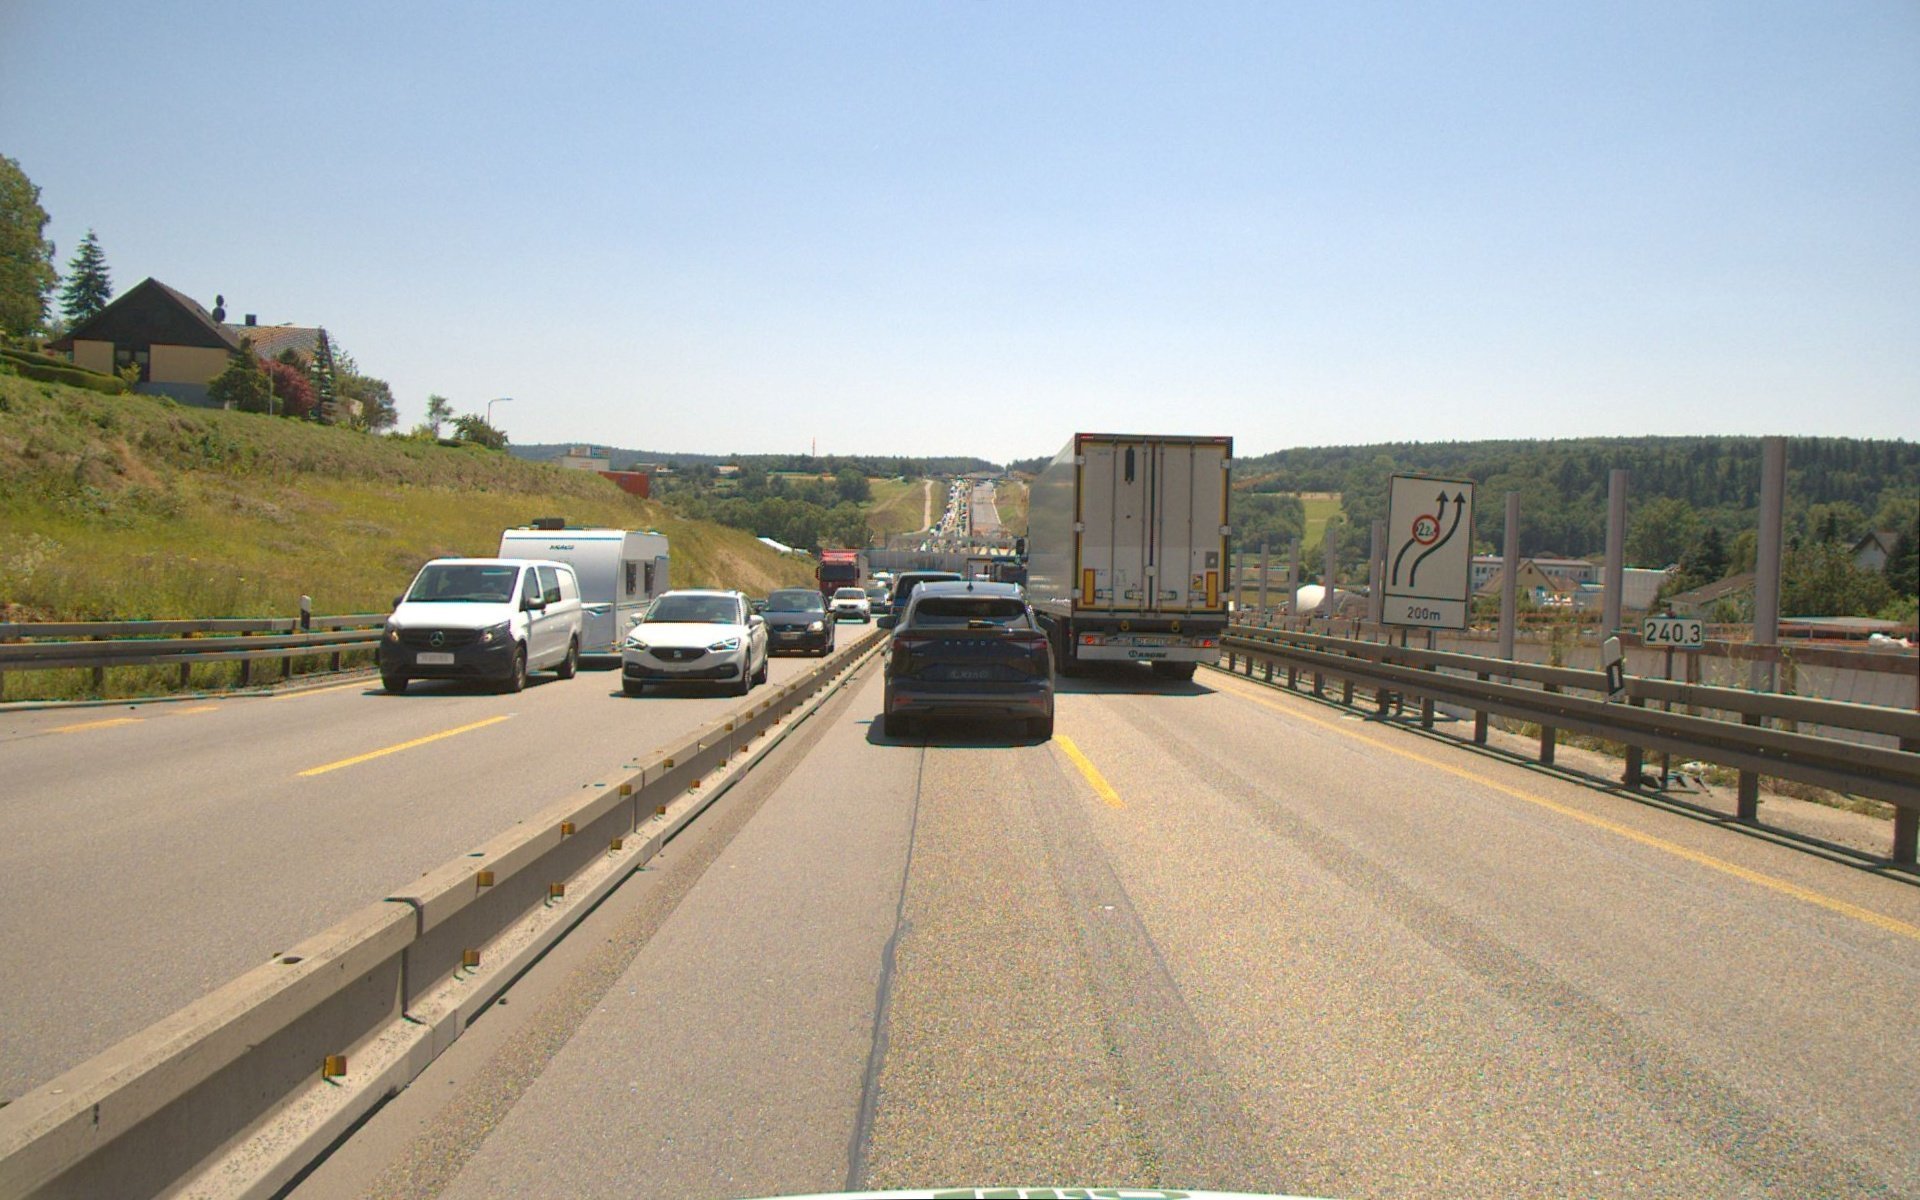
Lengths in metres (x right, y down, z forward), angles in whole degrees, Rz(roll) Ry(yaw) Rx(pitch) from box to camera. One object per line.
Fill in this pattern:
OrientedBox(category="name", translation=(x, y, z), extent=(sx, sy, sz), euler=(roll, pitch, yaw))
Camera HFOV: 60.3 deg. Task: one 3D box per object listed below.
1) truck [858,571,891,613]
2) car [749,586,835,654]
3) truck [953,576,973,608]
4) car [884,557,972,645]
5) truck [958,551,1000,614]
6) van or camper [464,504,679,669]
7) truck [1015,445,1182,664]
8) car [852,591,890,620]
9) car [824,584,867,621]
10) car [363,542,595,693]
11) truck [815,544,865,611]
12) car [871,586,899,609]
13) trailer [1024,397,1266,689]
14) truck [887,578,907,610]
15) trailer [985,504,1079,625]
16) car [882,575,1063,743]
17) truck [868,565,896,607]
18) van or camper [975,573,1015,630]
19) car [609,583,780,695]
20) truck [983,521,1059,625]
OrientedBox(category="truck", translation=(-8.484, -0.732, 165.434), extent=(2.794, 3.849, 11.913), euler=(1, -1, -1))
OrientedBox(category="car", translation=(-3.736, 0.420, 37.248), extent=(1.632, 1.438, 3.816), euler=(1, 0, -2))
OrientedBox(category="truck", translation=(0.378, -1.061, 232.740), extent=(2.586, 4.267, 9.282), euler=(1, -1, -1))
OrientedBox(category="car", translation=(-0.761, 0.058, 39.755), extent=(1.953, 1.959, 4.506), euler=(1, -1, -1))
OrientedBox(category="truck", translation=(1.412, -1.249, 129.084), extent=(2.794, 4.543, 11.913), euler=(1, -1, -1))
OrientedBox(category="van or camper", translation=(-7.171, -0.248, 31.609), extent=(2.309, 2.723, 7.857), euler=(1, 0, -1))
OrientedBox(category="truck", translation=(3.087, -1.008, 39.303), extent=(3.116, 4.591, 8.165), euler=(1, 1, -1))
OrientedBox(category="car", translation=(-4.973, 0.318, 92.868), extent=(1.953, 1.557, 3.999), euler=(1, 0, -1))
OrientedBox(category="car", translation=(-4.988, 0.103, 72.469), extent=(1.756, 1.545, 3.997), euler=(0, 0, -3))
OrientedBox(category="car", translation=(-7.079, 0.219, 24.993), extent=(1.953, 2.005, 5.342), euler=(1, 0, 0))
OrientedBox(category="truck", translation=(-8.205, -1.429, 114.300), extent=(2.794, 4.212, 11.913), euler=(1, -1, -1))
OrientedBox(category="car", translation=(-5.164, -0.154, 114.653), extent=(1.824, 1.502, 3.999), euler=(2, 0, -1))
OrientedBox(category="trailer", translation=(3.194, -0.971, 32.809), extent=(3.115, 4.591, 13.107), euler=(1, 1, -1))
OrientedBox(category="truck", translation=(-9.436, -0.848, 248.179), extent=(2.794, 4.414, 11.913), euler=(1, -1, -1))
OrientedBox(category="trailer", translation=(2.858, -1.249, 70.704), extent=(3.115, 4.592, 14.963), euler=(1, -1, -1))
OrientedBox(category="car", translation=(0.127, 0.595, 18.397), extent=(1.765, 1.635, 4.000), euler=(1, 0, 0))
OrientedBox(category="truck", translation=(-8.846, -1.500, 188.660), extent=(2.794, 4.414, 11.913), euler=(1, -1, -1))
OrientedBox(category="van or camper", translation=(2.150, 0.156, 101.547), extent=(2.339, 3.338, 6.469), euler=(1, -1, 1))
OrientedBox(category="car", translation=(-3.848, 0.516, 24.750), extent=(1.874, 1.506, 4.635), euler=(1, 0, -1))
OrientedBox(category="truck", translation=(2.768, -1.144, 77.678), extent=(3.116, 4.592, 8.163), euler=(1, -1, -1))
